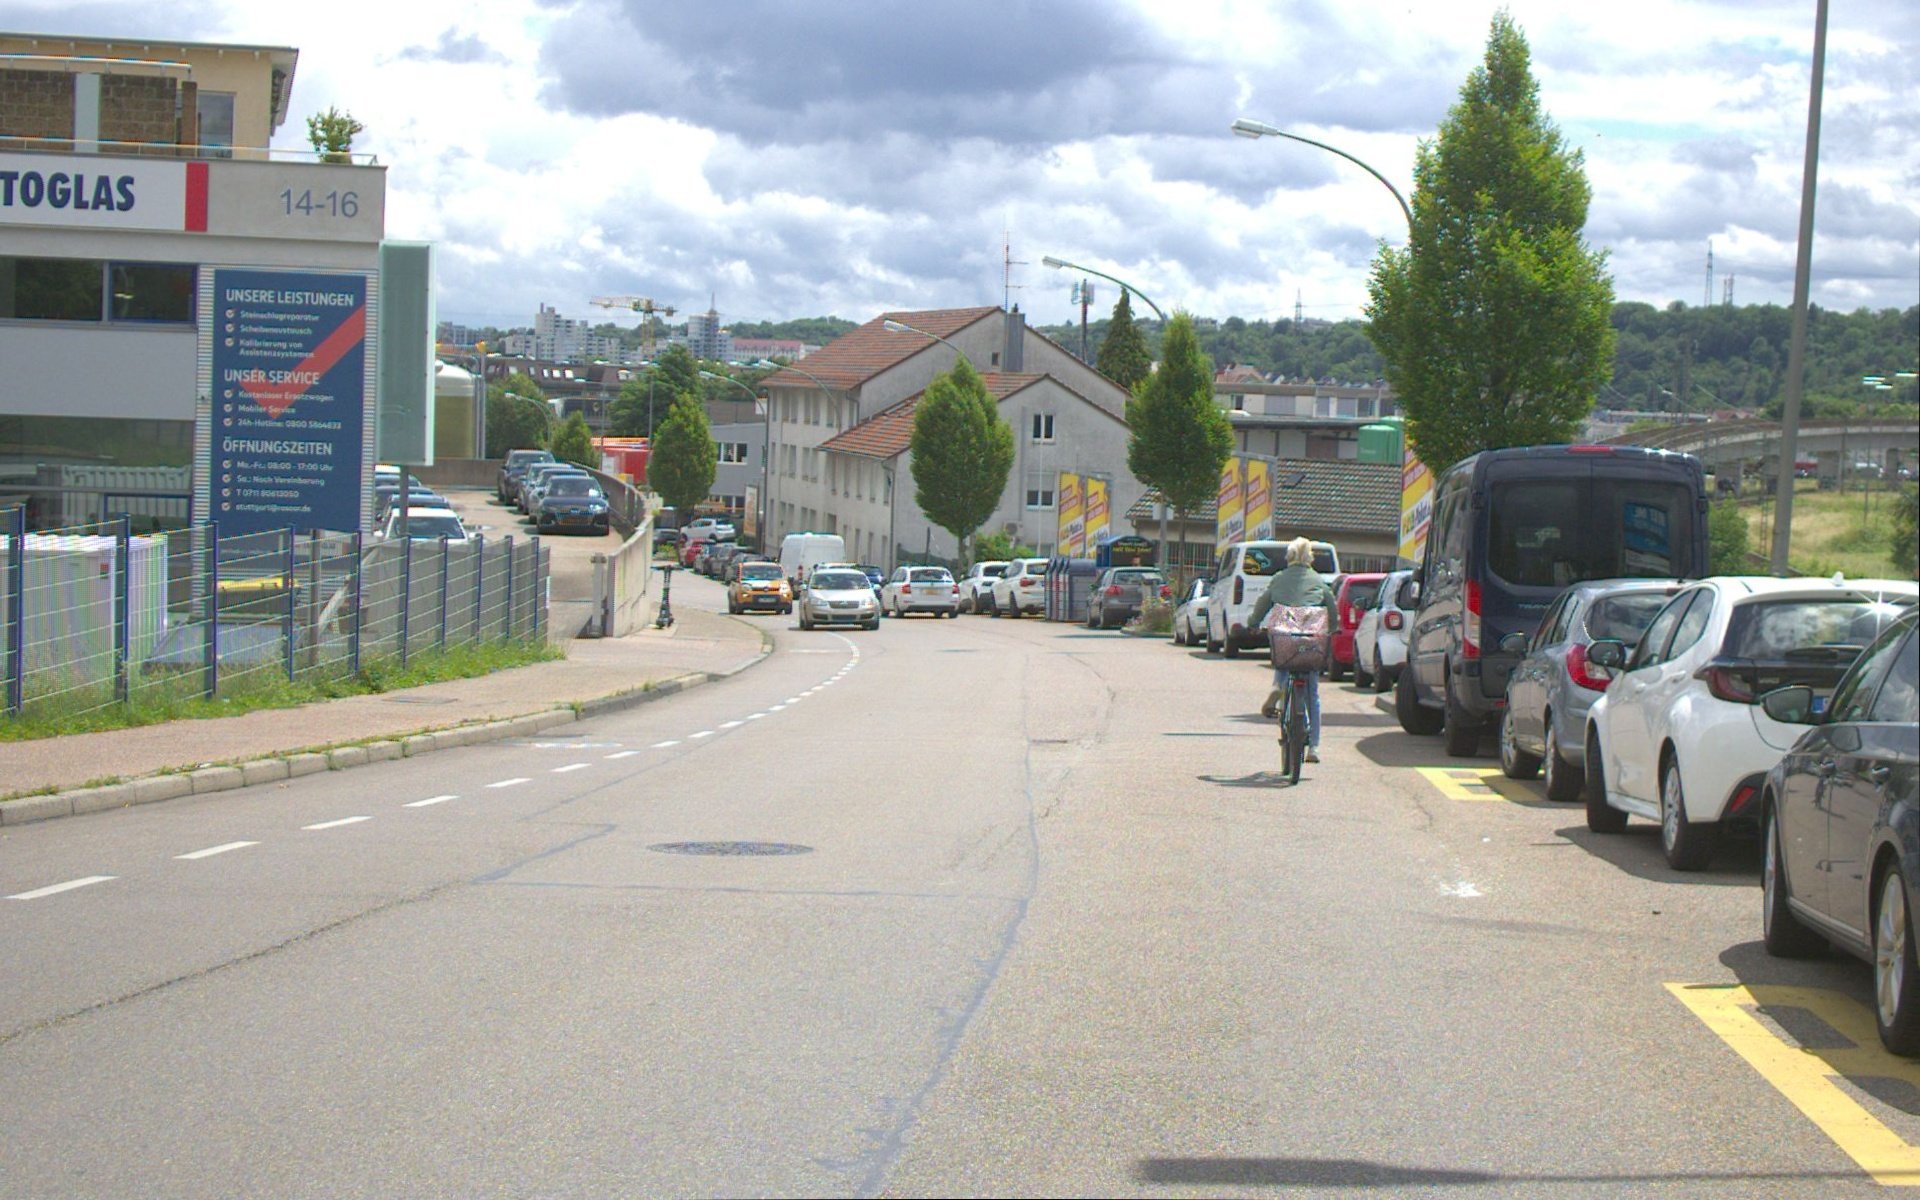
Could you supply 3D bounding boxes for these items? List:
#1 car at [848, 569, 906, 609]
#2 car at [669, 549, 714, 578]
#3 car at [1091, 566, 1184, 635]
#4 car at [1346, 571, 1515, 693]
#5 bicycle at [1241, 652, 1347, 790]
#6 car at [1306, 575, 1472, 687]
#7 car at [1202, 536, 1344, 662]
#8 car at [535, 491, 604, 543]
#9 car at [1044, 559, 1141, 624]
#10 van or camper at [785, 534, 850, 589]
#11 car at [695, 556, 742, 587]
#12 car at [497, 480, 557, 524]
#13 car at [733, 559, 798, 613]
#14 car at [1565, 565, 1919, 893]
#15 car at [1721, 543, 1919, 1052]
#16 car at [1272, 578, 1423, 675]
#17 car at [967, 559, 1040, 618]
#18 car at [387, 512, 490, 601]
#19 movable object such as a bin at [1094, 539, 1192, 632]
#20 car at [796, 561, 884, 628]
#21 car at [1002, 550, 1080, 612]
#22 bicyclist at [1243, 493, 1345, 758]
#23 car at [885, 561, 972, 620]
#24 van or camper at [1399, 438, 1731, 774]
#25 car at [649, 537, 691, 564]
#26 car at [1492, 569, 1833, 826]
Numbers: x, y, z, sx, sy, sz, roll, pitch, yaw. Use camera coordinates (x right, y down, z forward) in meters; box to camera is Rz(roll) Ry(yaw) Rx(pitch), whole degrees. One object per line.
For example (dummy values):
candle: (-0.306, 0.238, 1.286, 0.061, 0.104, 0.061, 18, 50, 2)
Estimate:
car: (-3.120, -0.427, 128.744, 1.993, 1.459, 4.001, 0, 0, -4)
car: (-13.514, -1.817, 172.607, 1.993, 1.459, 4.001, 0, 0, -8)
car: (4.208, -0.007, 82.079, 1.993, 1.612, 4.000, 0, 0, 0)
car: (5.932, 0.381, 43.644, 1.793, 1.501, 2.906, 0, 0, 1)
bicycle: (2.331, 0.829, 24.157, 0.688, 0.875, 2.101, 0, 0, 4)
car: (5.934, 0.400, 47.990, 1.875, 1.503, 4.000, 0, 0, 1)
car: (5.358, -0.039, 59.376, 1.993, 2.007, 4.918, 2, 0, 1)
car: (-10.058, -2.141, 88.318, 1.670, 1.319, 3.719, 0, 2, -8)
car: (3.484, -0.237, 91.082, 2.134, 1.700, 4.001, 0, 0, -4)
van or camper: (-5.732, -1.560, 137.992, 1.993, 2.007, 4.001, 4, 1, -10)
car: (-11.654, -1.359, 165.796, 1.993, 1.459, 4.001, 0, 0, -8)
car: (-13.351, -3.025, 105.869, 1.669, 1.319, 3.719, 0, 2, -10)
car: (-5.758, -0.428, 101.654, 1.708, 1.568, 4.001, 0, 0, -6)
car: (4.386, 0.607, 18.310, 1.705, 1.474, 3.957, 3, 1, 2)
car: (3.764, 0.597, 11.282, 1.706, 1.482, 4.572, 3, 1, 3)
car: (5.897, 0.384, 52.665, 1.903, 1.437, 3.544, 0, 0, 0)
car: (1.273, -0.346, 102.175, 1.842, 1.700, 4.001, 0, 0, -4)
car: (-9.978, -0.823, 65.604, 1.846, 1.645, 4.001, 0, 0, -10)
movable object such as a bin: (4.587, -0.361, 86.466, 2.134, 2.295, 2.558, 0, 0, -4)
car: (-2.900, -0.145, 82.225, 1.702, 1.556, 4.329, 1, 0, -7)
car: (2.251, -0.531, 96.503, 1.813, 1.700, 4.001, 0, 0, -4)
bicyclist: (2.335, 0.171, 24.141, 0.684, 1.819, 1.080, 0, 0, 4)
car: (-0.900, -0.279, 96.050, 1.993, 1.612, 4.001, 0, 0, -7)
van or camper: (5.108, 0.020, 29.869, 2.125, 2.576, 5.916, 2, 1, 4)
car: (-15.926, -2.704, 188.496, 1.993, 1.415, 4.001, 0, 0, -9)
car: (4.710, 0.596, 23.503, 1.706, 1.505, 3.696, 3, 1, 3)
